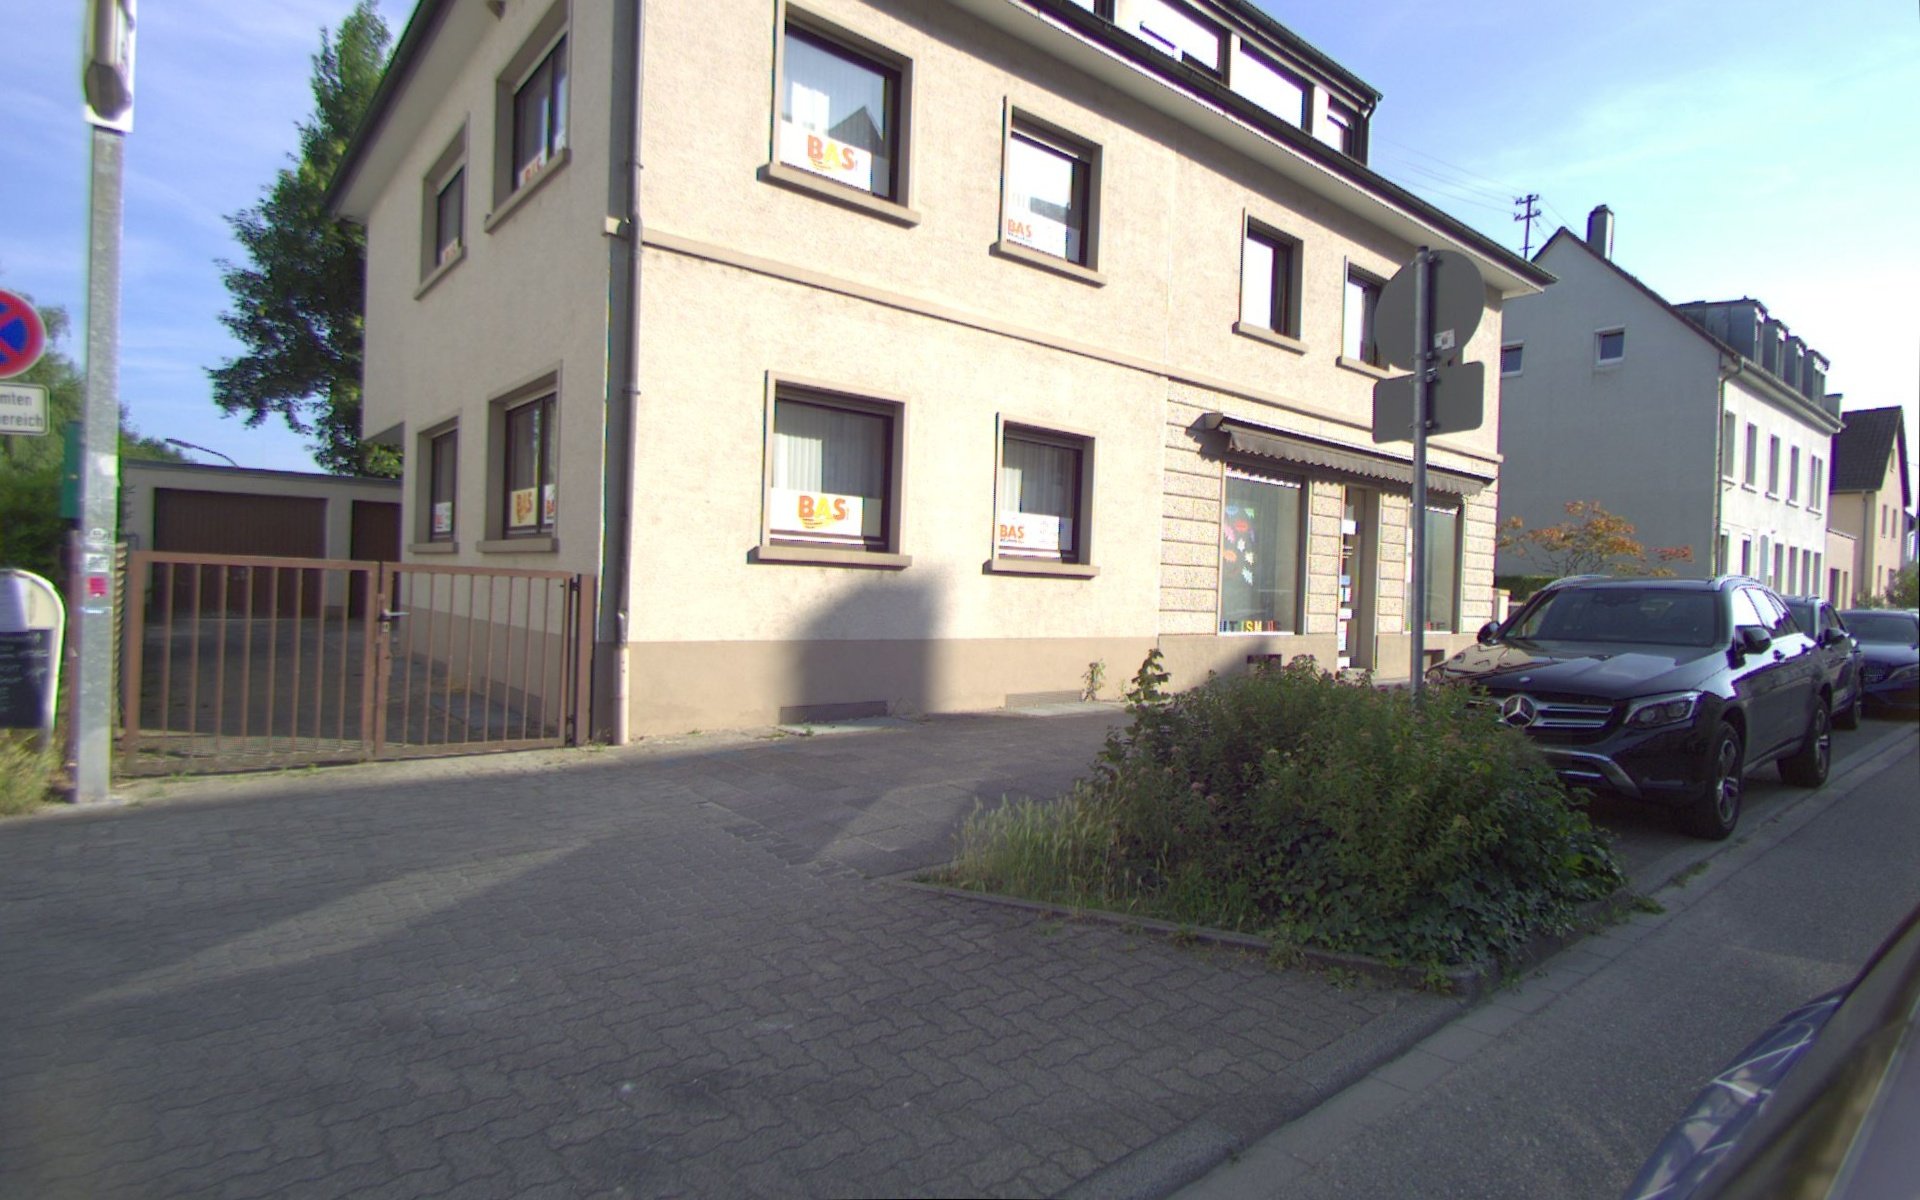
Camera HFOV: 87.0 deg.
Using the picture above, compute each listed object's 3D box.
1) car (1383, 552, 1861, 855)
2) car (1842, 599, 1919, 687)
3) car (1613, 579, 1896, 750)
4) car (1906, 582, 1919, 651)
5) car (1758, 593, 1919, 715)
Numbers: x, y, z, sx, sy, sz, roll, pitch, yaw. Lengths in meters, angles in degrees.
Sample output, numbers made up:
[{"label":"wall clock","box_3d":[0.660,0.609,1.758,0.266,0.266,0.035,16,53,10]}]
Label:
[{"label":"car","box_3d":[5.180,0.546,7.668,4.384,1.650,1.834,0,2,-40]},{"label":"car","box_3d":[17.600,0.743,18.412,4.418,1.438,1.782,1,1,-42]},{"label":"car","box_3d":[9.326,0.611,11.755,4.242,1.579,1.833,0,2,-42]},{"label":"car","box_3d":[28.372,0.539,28.301,4.525,1.879,2.082,2,2,-38]},{"label":"car","box_3d":[13.150,0.687,14.490,4.527,1.437,1.834,1,2,-41]}]
